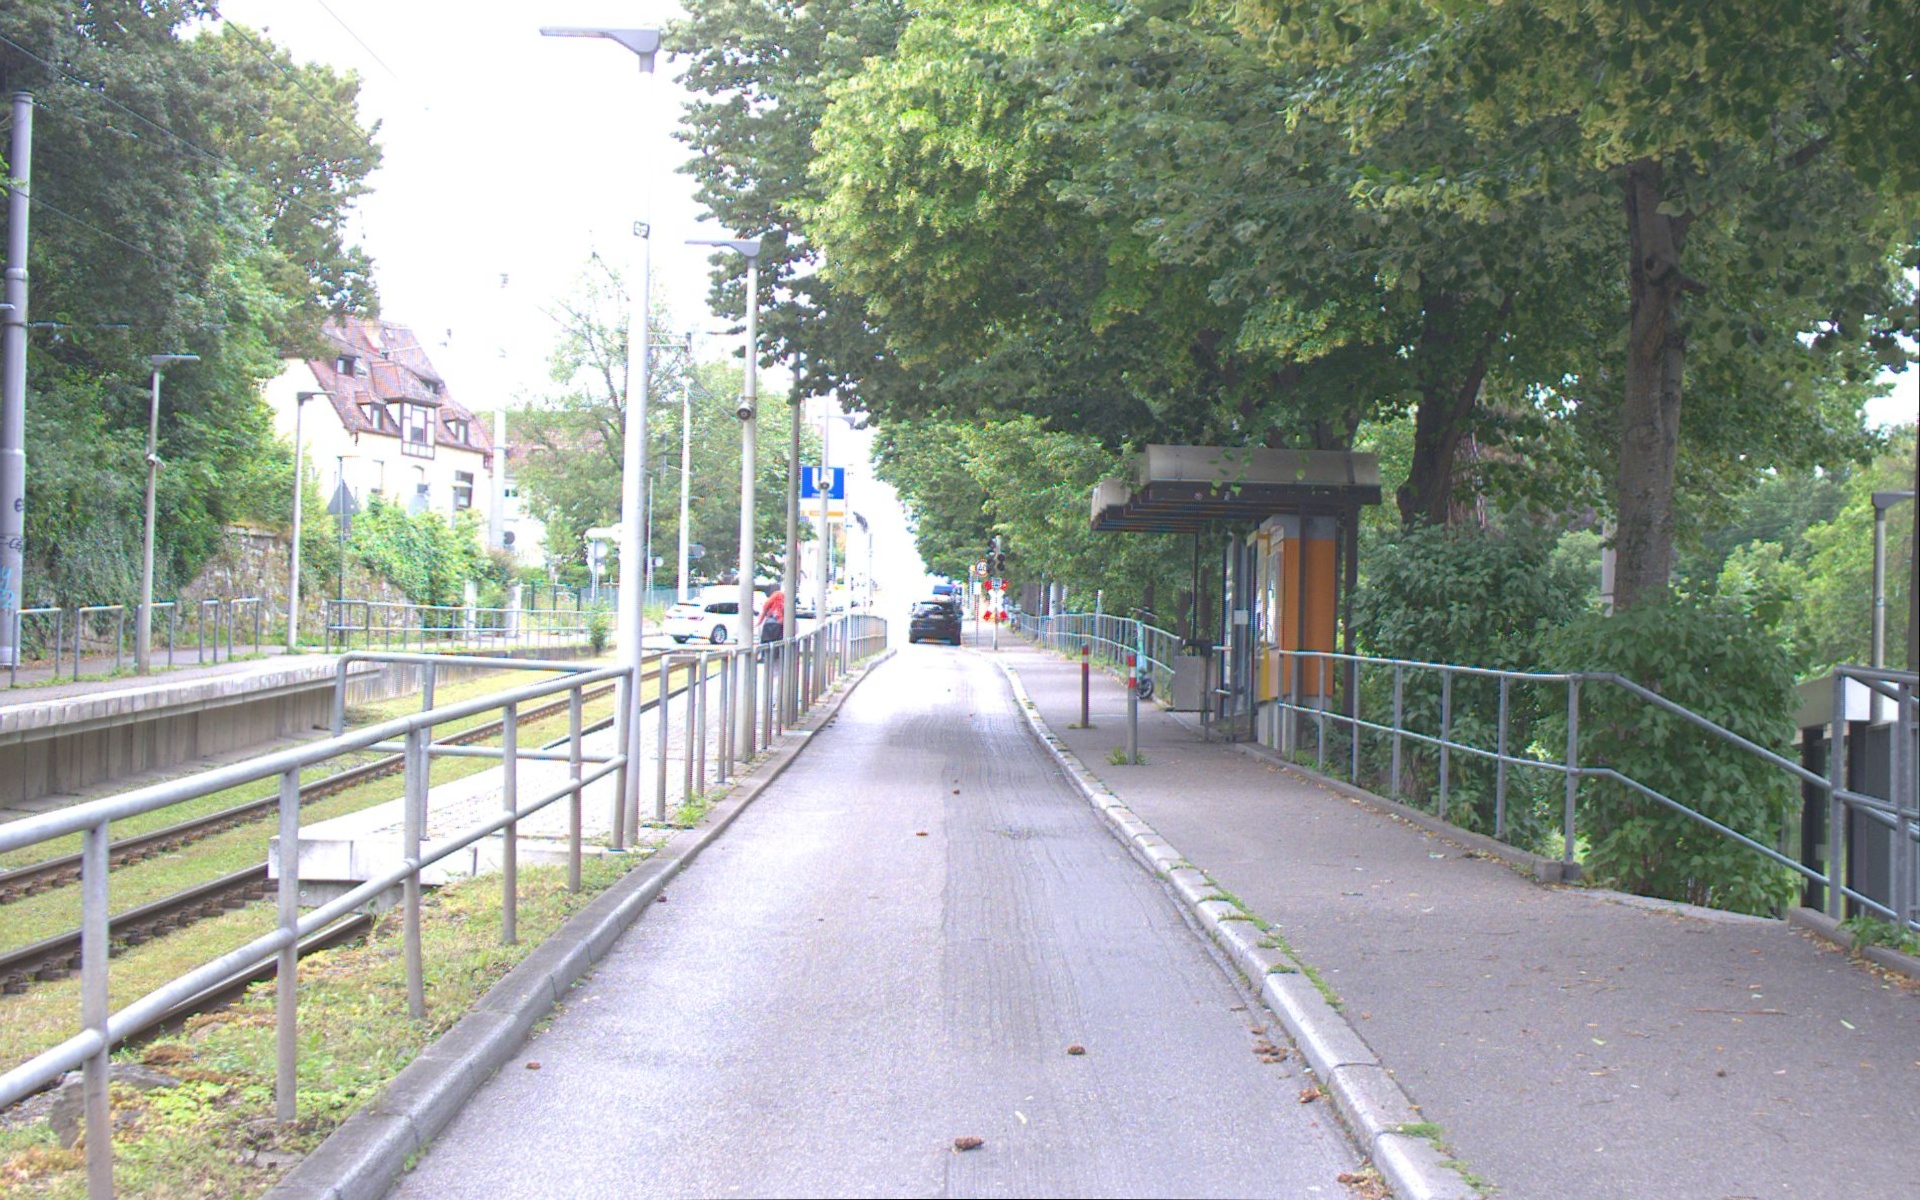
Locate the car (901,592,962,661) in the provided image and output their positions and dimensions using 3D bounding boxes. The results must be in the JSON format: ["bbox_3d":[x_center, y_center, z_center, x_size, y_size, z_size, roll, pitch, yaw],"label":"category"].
[{"bbox_3d":[-1.034,0.977,122.882,1.993,2.138,3.999,4,-3,0],"label":"car"}]

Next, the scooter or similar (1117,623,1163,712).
[{"bbox_3d":[2.415,0.911,46.190,0.342,1.153,1.147,5,-3,-6],"label":"scooter or similar"}]

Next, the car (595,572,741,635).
[{"bbox_3d":[-9.344,0.117,110.281,4.107,1.653,2.000,6,-4,-35],"label":"car"}]

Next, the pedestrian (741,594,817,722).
[{"bbox_3d":[-2.086,0.666,39.798,0.742,1.404,0.747,4,1,0],"label":"pedestrian"}]
